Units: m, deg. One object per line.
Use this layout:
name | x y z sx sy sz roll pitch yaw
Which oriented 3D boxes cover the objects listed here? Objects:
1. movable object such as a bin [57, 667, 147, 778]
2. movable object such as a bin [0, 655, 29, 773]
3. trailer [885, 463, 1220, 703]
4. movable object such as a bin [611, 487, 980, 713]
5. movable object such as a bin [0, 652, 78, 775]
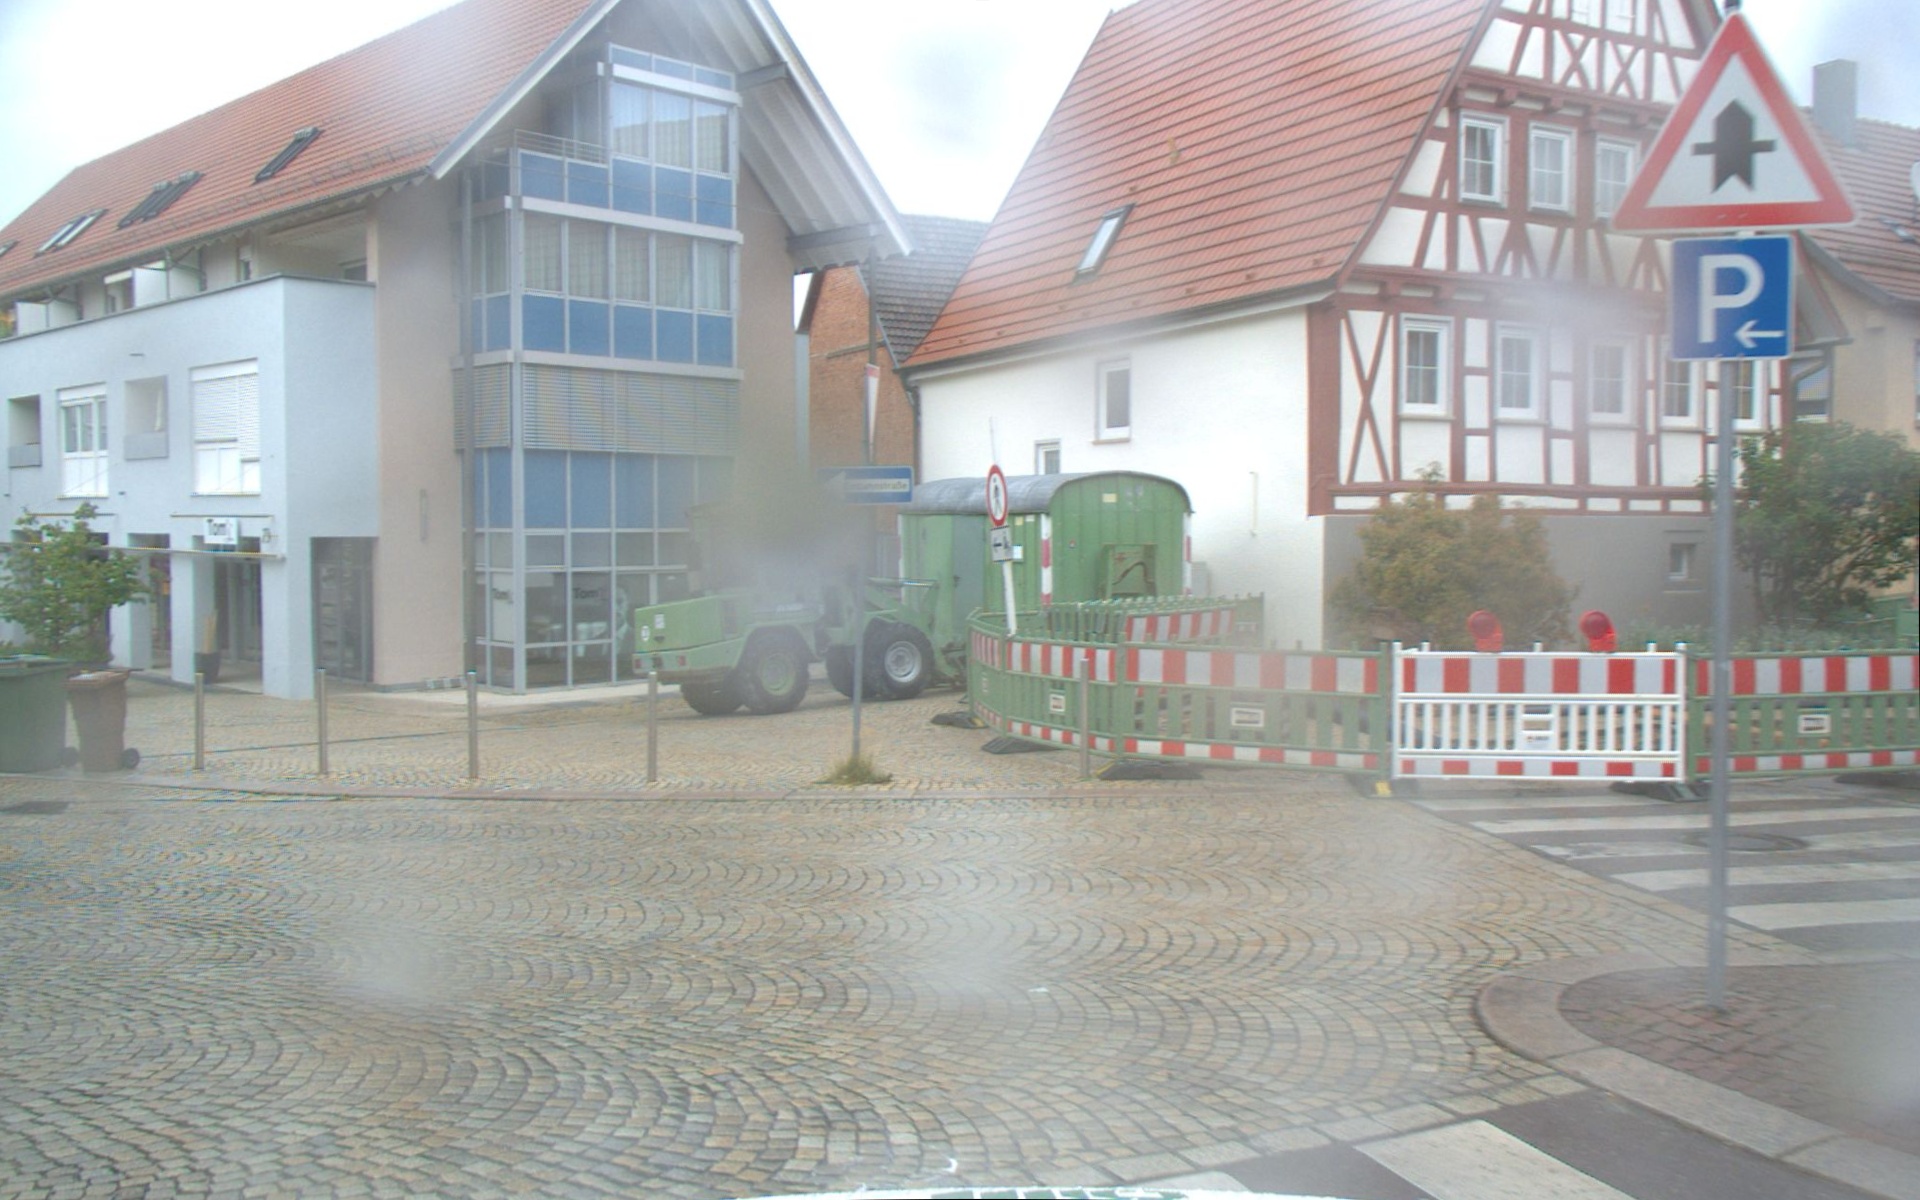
movable object such as a bin | -8.260 1.171 15.936 0.486 1.008 0.562 -2 0 17
movable object such as a bin | -9.641 1.129 16.321 0.538 1.146 0.561 -1 0 26
trailer | 1.113 -0.288 22.537 2.457 2.885 4.589 1 2 -29
movable object such as a bin | -2.038 -0.041 20.939 4.238 2.599 1.890 -2 0 -33
movable object such as a bin | -9.073 1.101 16.171 0.538 1.146 0.561 -1 0 26
